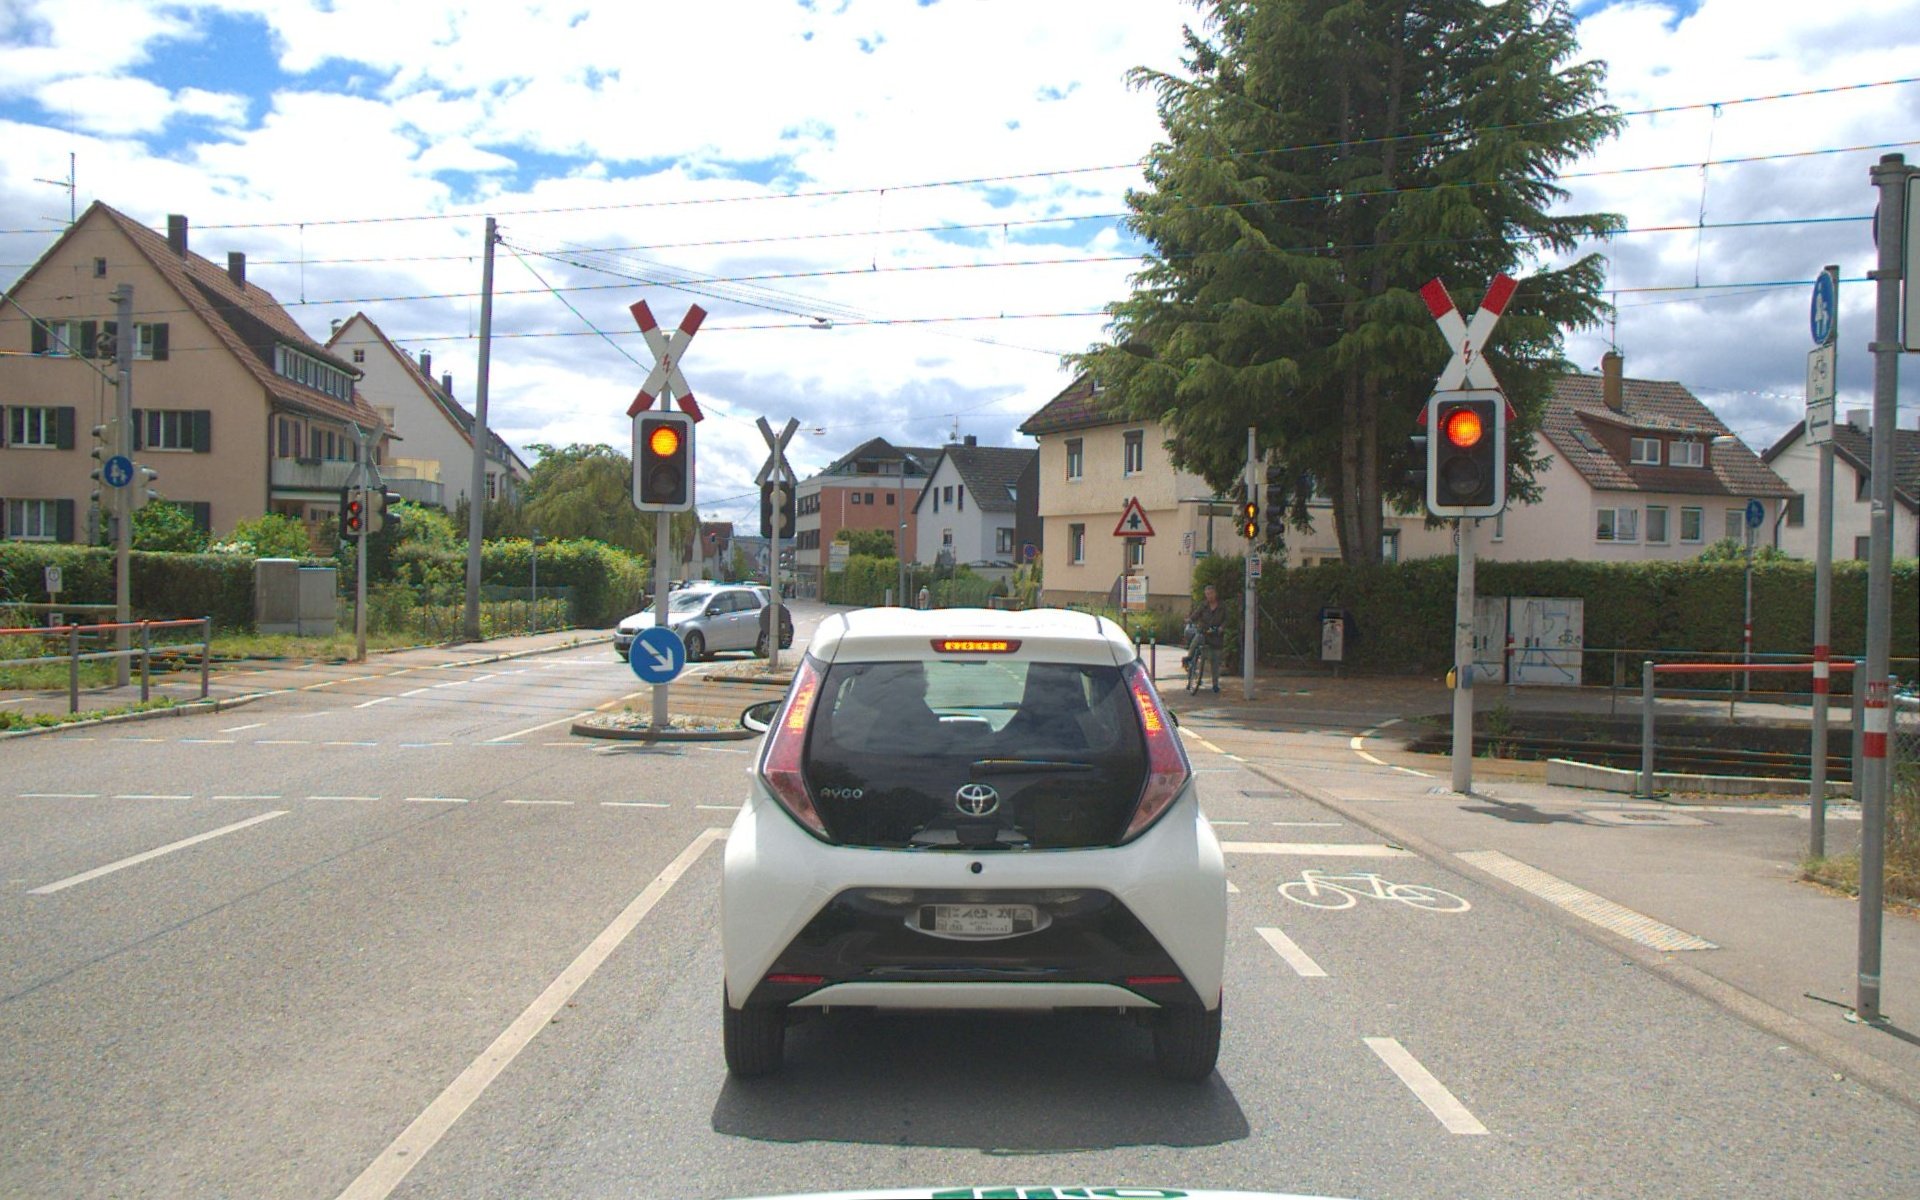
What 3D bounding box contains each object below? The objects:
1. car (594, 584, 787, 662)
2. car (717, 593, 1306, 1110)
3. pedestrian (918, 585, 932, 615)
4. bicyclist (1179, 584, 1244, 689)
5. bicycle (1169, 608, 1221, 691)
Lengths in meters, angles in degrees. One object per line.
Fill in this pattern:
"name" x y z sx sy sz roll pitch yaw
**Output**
"car" -5.525 0.464 34.415 1.868 1.466 4.093 2 0 27
"car" 0.031 0.719 6.618 1.687 1.467 3.705 1 0 -4
"pedestrian" -1.966 0.008 92.010 0.711 1.604 0.803 2 0 -1
"bicyclist" 3.973 0.570 26.188 0.825 1.580 0.755 -2 3 -7
"bicycle" 3.722 0.773 26.262 0.448 1.192 1.477 -2 3 -6
